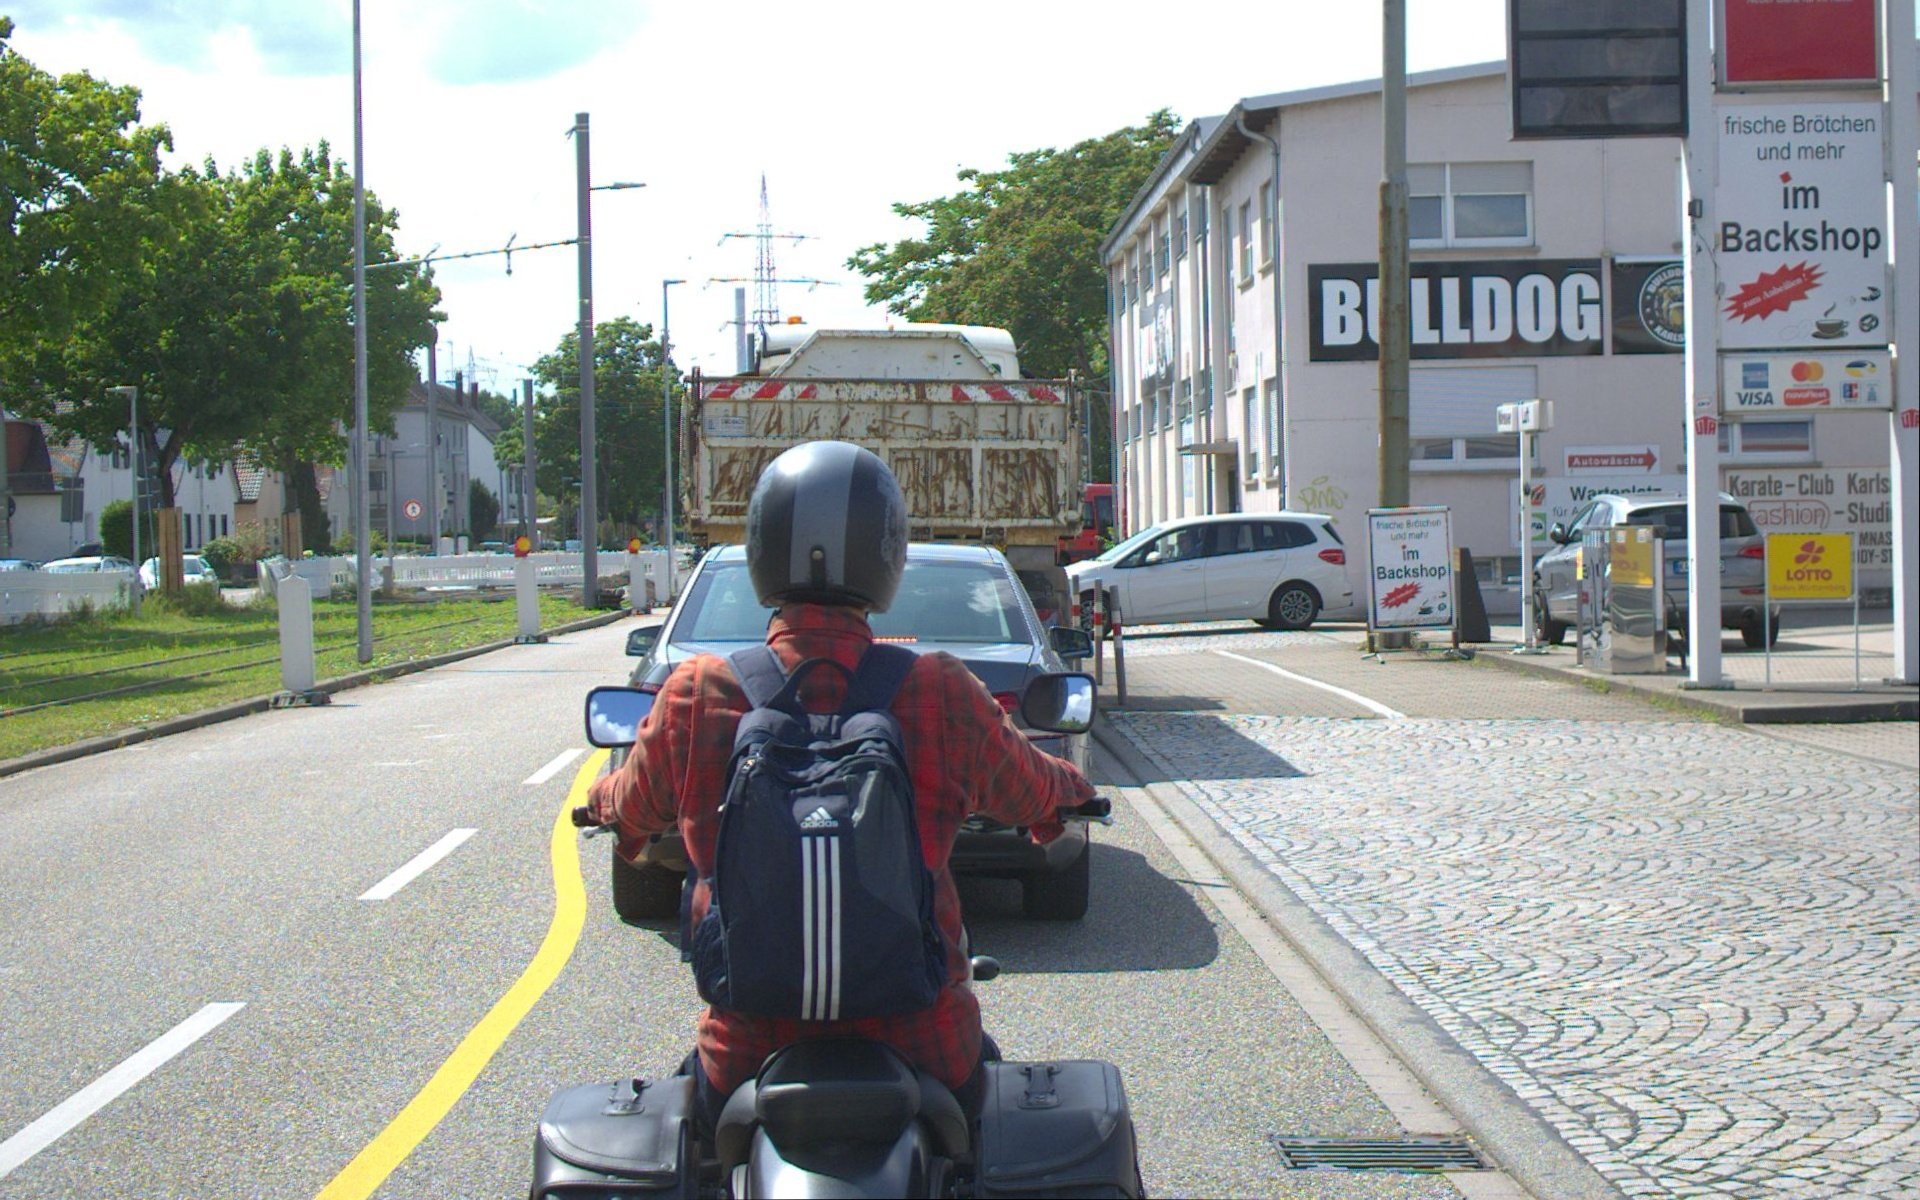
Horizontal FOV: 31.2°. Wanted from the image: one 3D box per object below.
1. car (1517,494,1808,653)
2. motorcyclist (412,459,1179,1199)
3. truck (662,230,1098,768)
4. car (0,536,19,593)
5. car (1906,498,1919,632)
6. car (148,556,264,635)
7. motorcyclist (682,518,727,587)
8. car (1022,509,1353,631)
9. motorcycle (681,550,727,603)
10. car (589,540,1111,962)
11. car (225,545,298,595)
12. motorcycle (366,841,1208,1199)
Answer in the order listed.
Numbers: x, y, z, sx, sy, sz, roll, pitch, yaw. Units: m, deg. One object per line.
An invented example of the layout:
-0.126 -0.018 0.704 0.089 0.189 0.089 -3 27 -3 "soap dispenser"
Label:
7.382 -0.306 36.527 1.667 1.557 4.245 -1 1 -8 "car"
-0.212 0.613 5.033 0.979 1.597 1.088 -1 1 -1 "motorcyclist"
-0.539 -0.715 25.369 2.638 3.285 8.057 -1 1 -1 "truck"
-30.044 -1.063 104.410 1.776 1.717 4.128 -1 1 0 "car"
11.737 -0.381 37.096 1.806 1.498 3.834 -1 1 -3 "car"
-17.496 -0.131 79.965 1.776 1.717 4.128 -1 1 0 "car"
-5.167 -0.970 69.476 0.868 1.373 0.800 -1 1 -3 "motorcyclist"
3.085 -0.428 47.028 4.229 1.537 1.673 -1 1 -8 "car"
-5.164 -0.478 69.559 0.868 1.017 2.245 -1 1 -3 "motorcycle"
-0.413 0.500 14.153 1.823 1.447 4.000 1 1 -1 "car"
-25.419 -1.100 125.246 1.776 1.717 4.128 -1 1 0 "car"
-0.208 0.955 5.344 0.979 0.894 2.653 -1 1 -1 "motorcycle"
